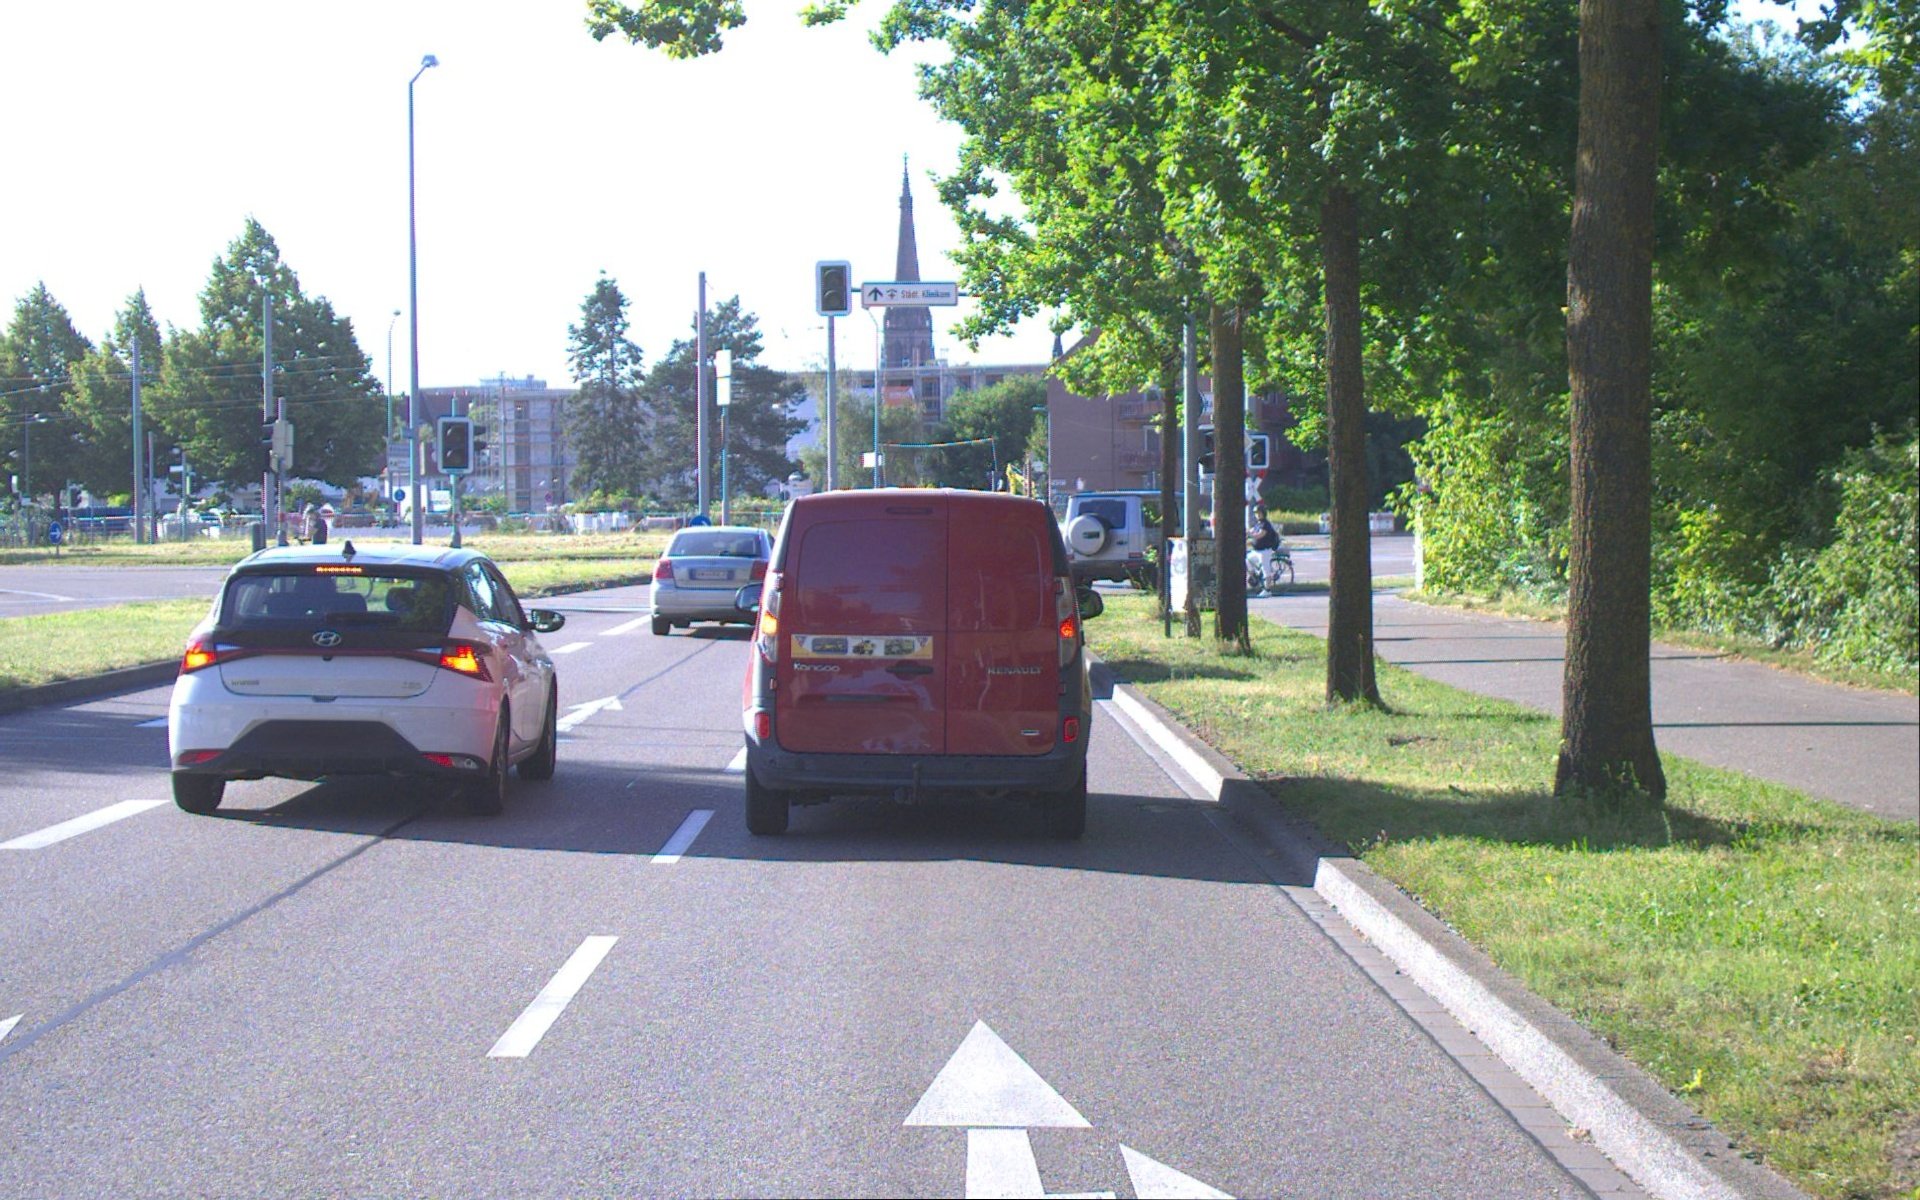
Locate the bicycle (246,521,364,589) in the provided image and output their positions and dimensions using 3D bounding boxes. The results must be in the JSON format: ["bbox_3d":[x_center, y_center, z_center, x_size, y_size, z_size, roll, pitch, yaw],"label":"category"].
[{"bbox_3d":[-11.453,-0.791,60.184,1.958,1.162,0.517,-1,1,-2],"label":"bicycle"}]

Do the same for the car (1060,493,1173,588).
[{"bbox_3d":[3.033,-1.153,66.118,1.660,1.755,3.496,0,1,11],"label":"car"}]

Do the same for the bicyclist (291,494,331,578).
[{"bbox_3d":[-11.359,-1.121,60.180,0.603,1.463,0.517,-1,1,-2],"label":"bicyclist"}]

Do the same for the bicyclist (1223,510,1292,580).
[{"bbox_3d":[5.438,-1.008,62.835,0.968,1.245,0.789,-1,1,-32],"label":"bicyclist"}]

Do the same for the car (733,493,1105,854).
[{"bbox_3d":[-0.232,0.299,18.907,1.806,1.753,4.006,1,2,-1],"label":"car"}]

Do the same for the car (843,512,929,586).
[{"bbox_3d":[-1.454,-1.029,68.307,1.661,1.393,3.559,0,2,-1],"label":"car"}]

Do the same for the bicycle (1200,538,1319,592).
[{"bbox_3d":[5.480,-0.649,62.872,2.119,0.954,0.789,-1,1,-32],"label":"bicycle"}]

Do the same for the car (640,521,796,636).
[{"bbox_3d":[-3.271,-0.327,47.114,1.841,1.451,4.163,1,2,0],"label":"car"}]

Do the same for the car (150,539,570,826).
[{"bbox_3d":[-3.329,0.391,19.789,1.778,1.404,4.075,0,2,-1],"label":"car"}]
